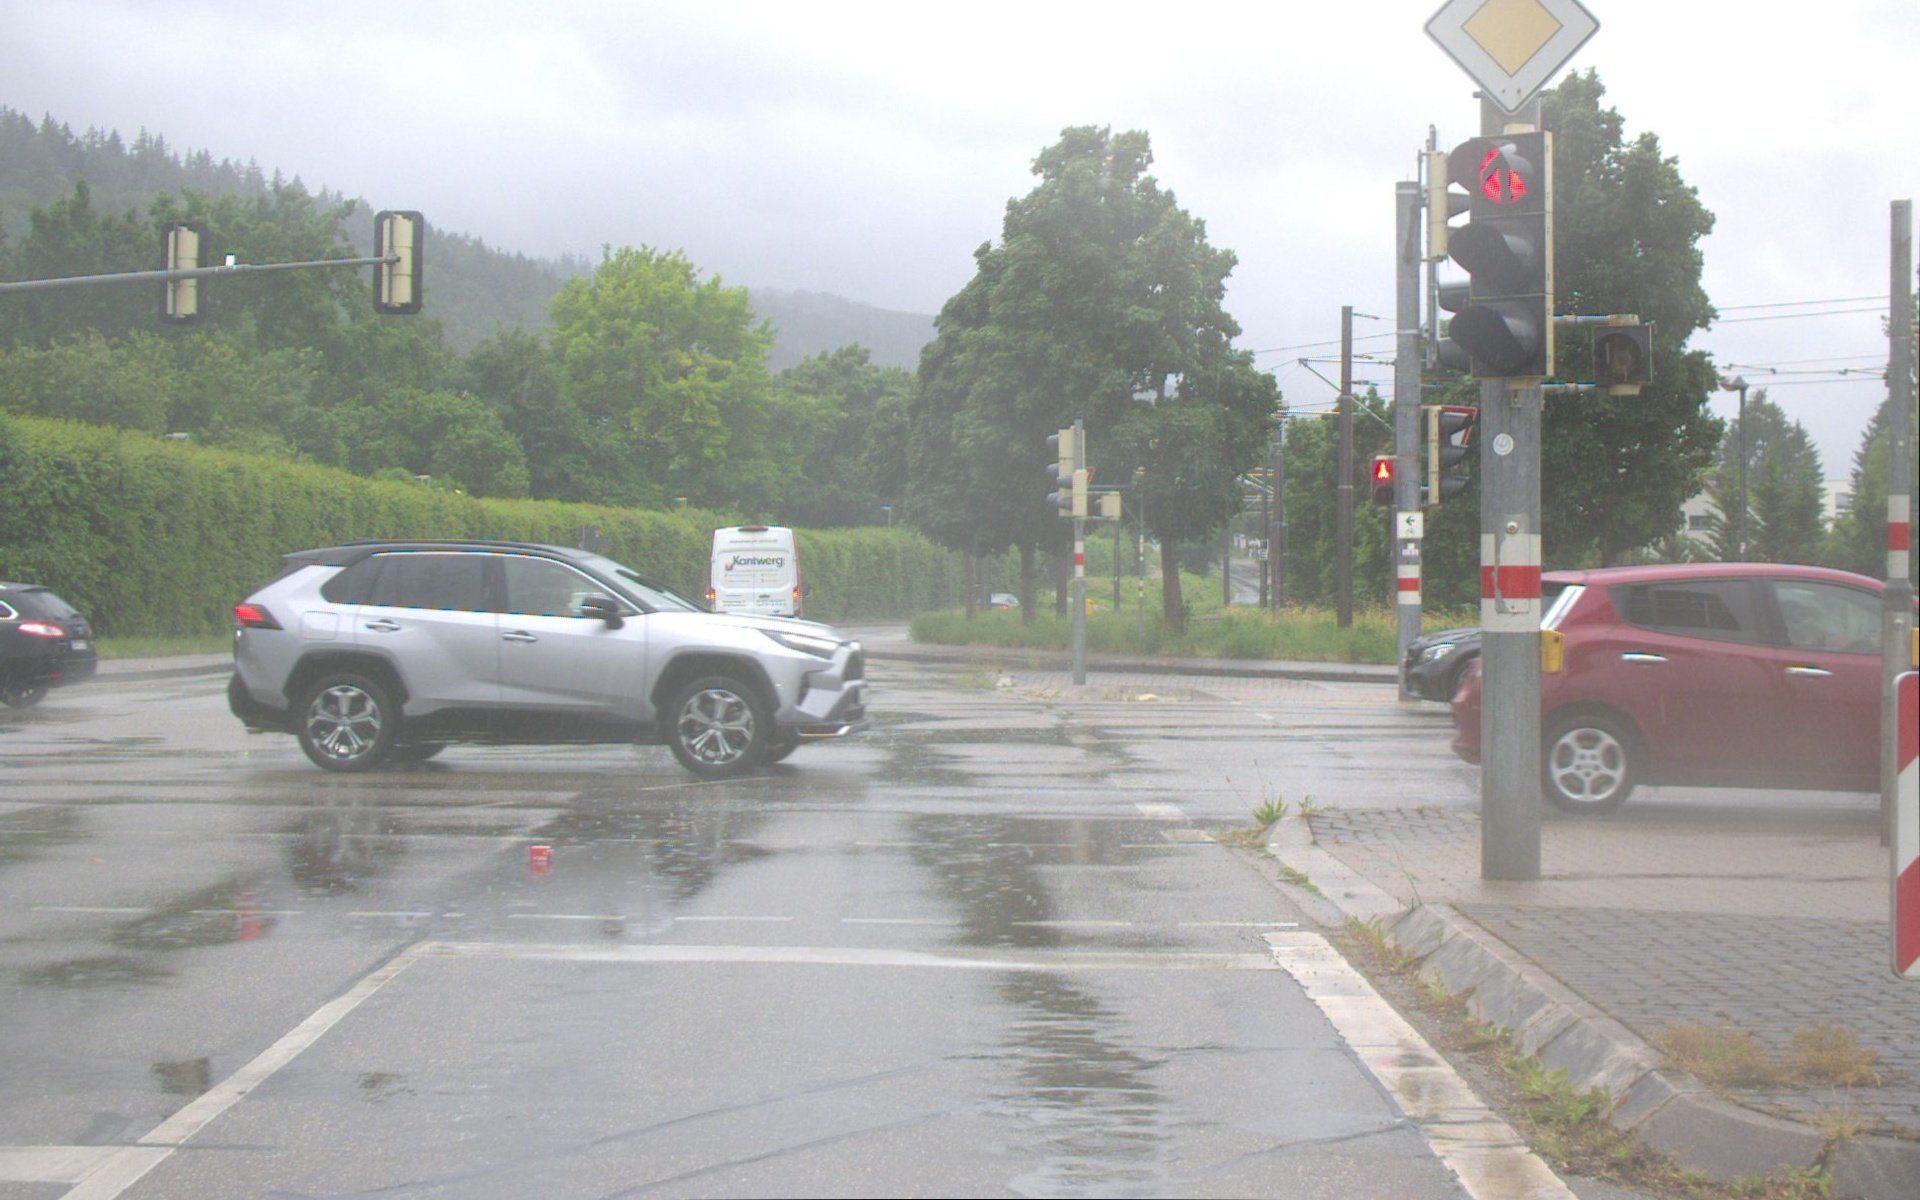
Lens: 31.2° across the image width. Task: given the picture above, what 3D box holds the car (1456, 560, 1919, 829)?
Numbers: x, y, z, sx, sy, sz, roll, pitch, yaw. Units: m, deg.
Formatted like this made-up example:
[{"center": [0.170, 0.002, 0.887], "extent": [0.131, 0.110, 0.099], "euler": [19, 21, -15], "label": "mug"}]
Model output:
[{"center": [5.325, 0.557, 21.357], "extent": [4.376, 1.574, 1.732], "euler": [0, 1, 6], "label": "car"}]

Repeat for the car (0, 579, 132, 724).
[{"center": [-11.739, 0.558, 38.039], "extent": [4.670, 1.548, 1.822], "euler": [0, 1, 3], "label": "car"}]

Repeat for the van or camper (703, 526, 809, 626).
[{"center": [-4.530, -0.564, 76.968], "extent": [2.153, 2.162, 4.865], "euler": [0, 1, -1], "label": "van or camper"}]

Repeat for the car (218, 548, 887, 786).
[{"center": [-2.927, 0.452, 25.218], "extent": [4.528, 1.574, 1.912], "euler": [1, 1, 7], "label": "car"}]
